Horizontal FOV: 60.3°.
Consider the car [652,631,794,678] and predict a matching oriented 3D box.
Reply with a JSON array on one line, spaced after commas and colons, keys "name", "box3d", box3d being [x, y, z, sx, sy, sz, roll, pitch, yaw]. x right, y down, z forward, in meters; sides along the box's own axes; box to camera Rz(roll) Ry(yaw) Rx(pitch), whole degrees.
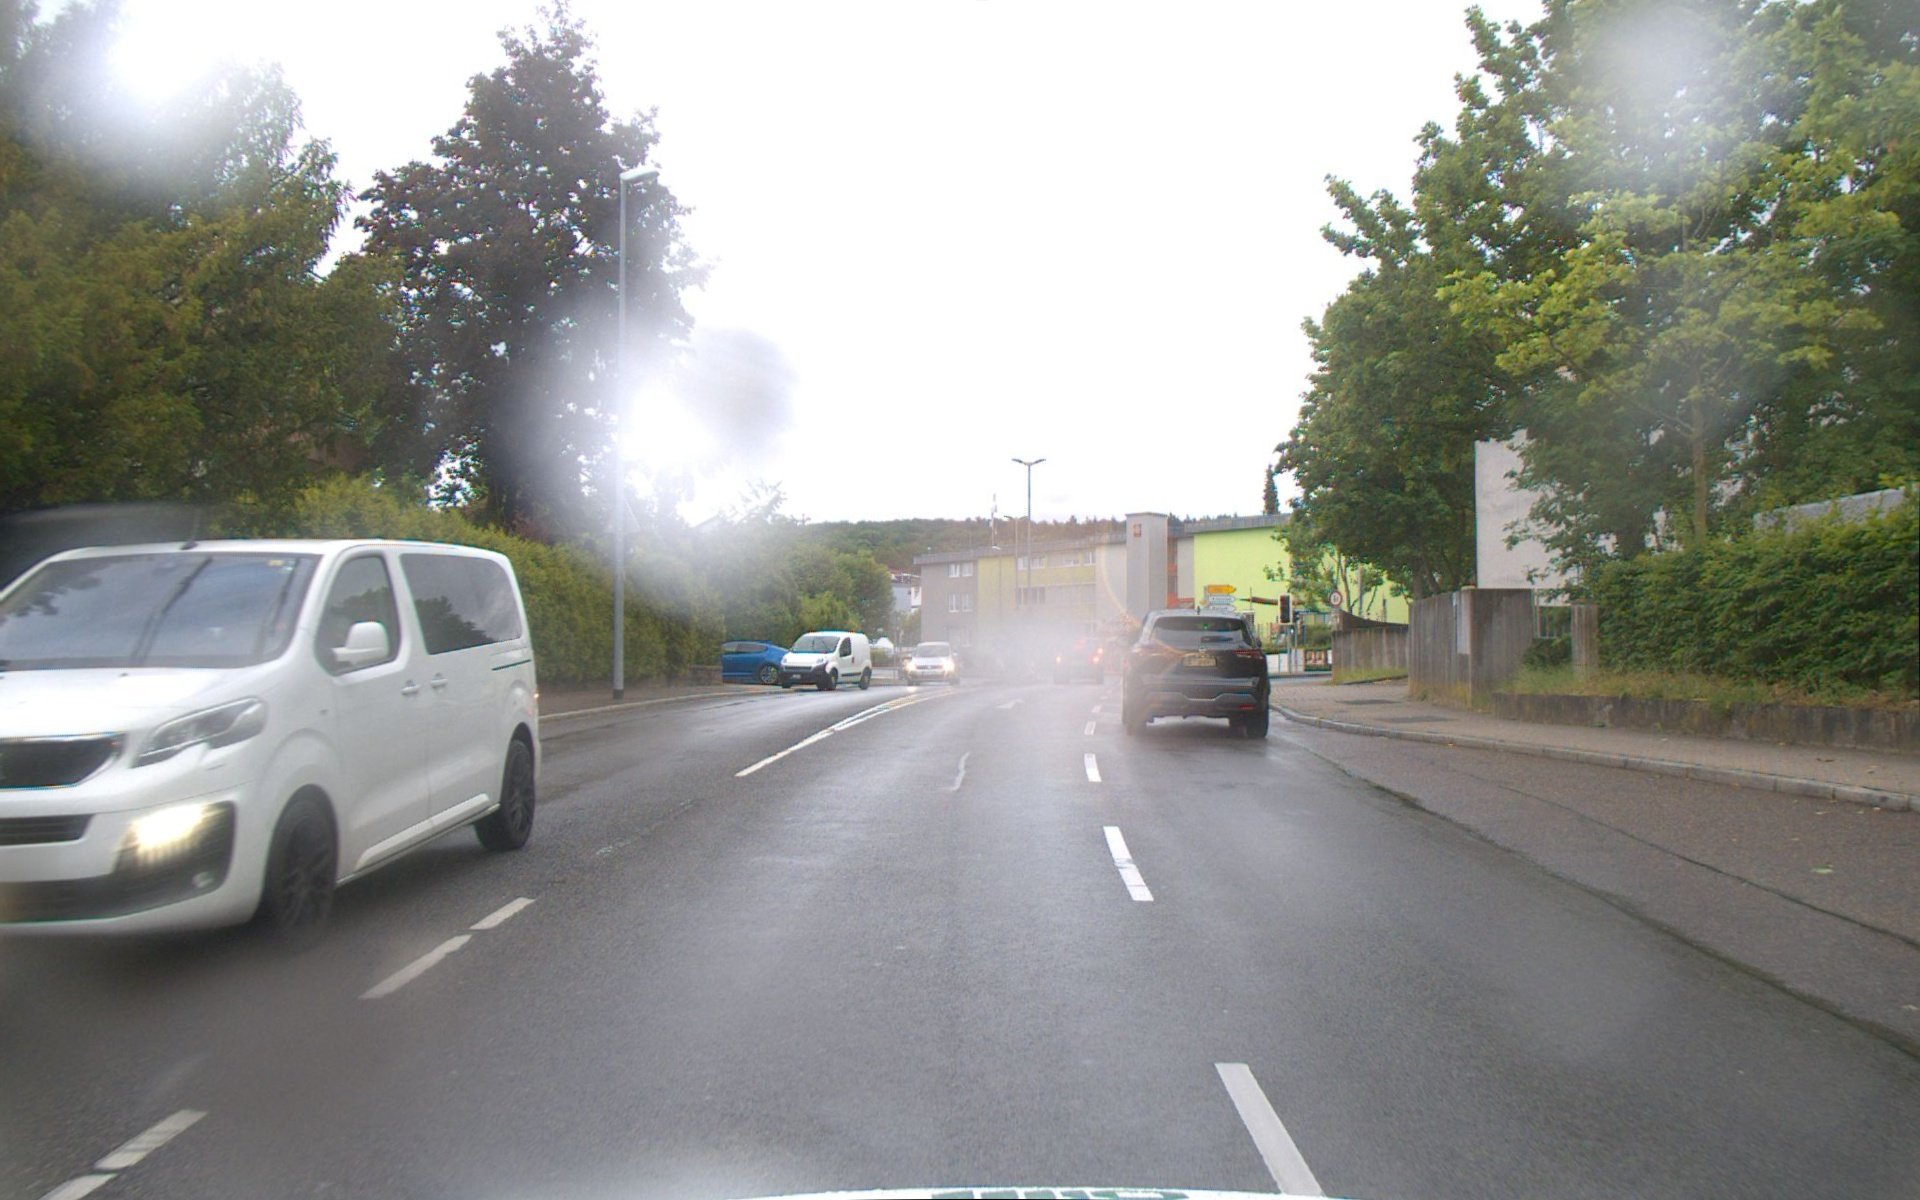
[{"name": "car", "box3d": [-7.799, 1.797, 54.618, 4.391, 1.386, 1.805, 2, -1, -1]}]

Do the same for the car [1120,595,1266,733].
[{"name": "car", "box3d": [3.096, 0.775, 22.360, 1.752, 1.631, 4.256, 1, 1, 7]}]

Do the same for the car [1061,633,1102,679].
[{"name": "car", "box3d": [5.282, 2.399, 71.561, 1.681, 1.877, 4.088, 1, -1, 4]}]

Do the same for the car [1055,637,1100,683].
[{"name": "car", "box3d": [4.504, 2.269, 63.130, 1.647, 1.532, 3.776, 1, 1, 5]}]

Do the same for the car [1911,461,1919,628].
[{"name": "car", "box3d": [14.744, -0.679, 20.874, 2.006, 2.323, 5.008, 1, 2, -9]}]

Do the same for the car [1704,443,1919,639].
[{"name": "car", "box3d": [11.661, -0.743, 21.290, 1.955, 2.265, 4.129, 1, 2, -6]}]

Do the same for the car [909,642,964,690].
[{"name": "car", "box3d": [-0.830, 2.387, 60.558, 1.600, 1.607, 4.058, -3, -2, 4]}]

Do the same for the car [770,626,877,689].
[{"name": "car", "box3d": [-4.062, 1.754, 49.899, 1.665, 1.738, 3.979, 2, -2, 20]}]

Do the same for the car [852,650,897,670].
[{"name": "car", "box3d": [-8.799, 6.167, 169.326, 4.316, 1.803, 1.994, -2, -3, -11]}]

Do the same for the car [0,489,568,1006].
[{"name": "car", "box3d": [-3.698, 0.581, 8.861, 1.825, 1.950, 5.030, -2, 0, 1]}]
